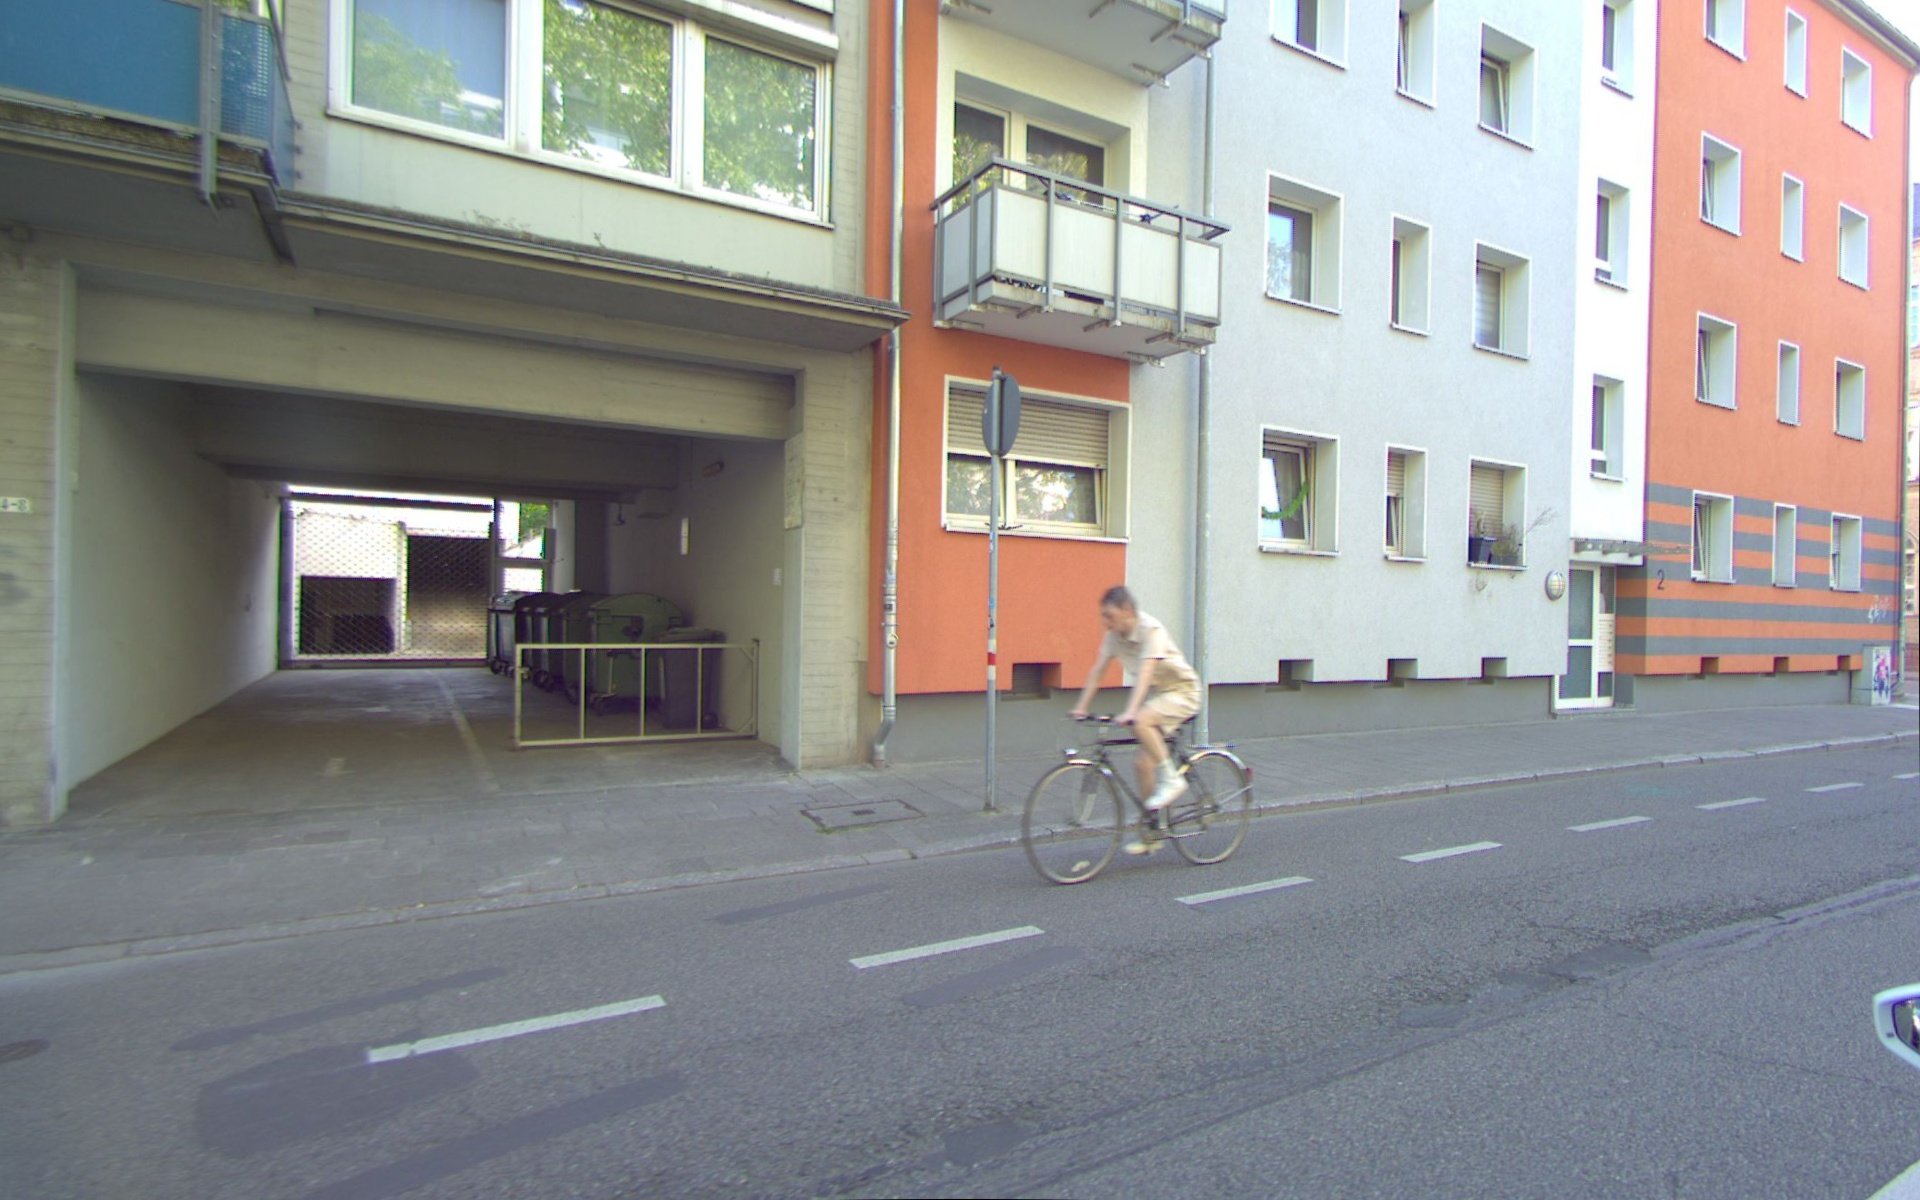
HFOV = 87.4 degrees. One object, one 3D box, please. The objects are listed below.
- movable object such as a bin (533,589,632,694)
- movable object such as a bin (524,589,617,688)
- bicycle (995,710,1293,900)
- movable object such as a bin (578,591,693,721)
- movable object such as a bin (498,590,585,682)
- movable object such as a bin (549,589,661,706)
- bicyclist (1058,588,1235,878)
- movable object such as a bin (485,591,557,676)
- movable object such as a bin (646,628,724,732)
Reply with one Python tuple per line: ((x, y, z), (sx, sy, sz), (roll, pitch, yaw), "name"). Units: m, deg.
((-5.726, 0.609, 15.209), (1.264, 1.506, 1.155), (2, 0, -27), "movable object such as a bin")
((-6.320, 0.607, 16.263), (1.264, 1.515, 1.155), (2, 0, -27), "movable object such as a bin")
((1.132, 1.154, 5.988), (1.845, 0.903, 0.545), (2, -2, -30), "bicycle")
((-3.989, 0.646, 12.303), (1.128, 1.484, 1.255), (2, 0, -27), "movable object such as a bin")
((-7.176, 0.596, 17.214), (1.264, 1.506, 1.155), (2, 0, -27), "movable object such as a bin")
((-4.843, 0.622, 13.665), (1.264, 1.493, 1.266), (2, -1, -27), "movable object such as a bin")
((1.100, 0.737, 5.969), (0.797, 1.579, 0.645), (1, -1, -30), "bicyclist")
((-8.084, 0.603, 18.478), (1.128, 1.484, 1.129), (2, 0, -27), "movable object such as a bin")
((-3.002, 0.856, 10.942), (0.694, 1.061, 0.567), (2, 0, -28), "movable object such as a bin")
